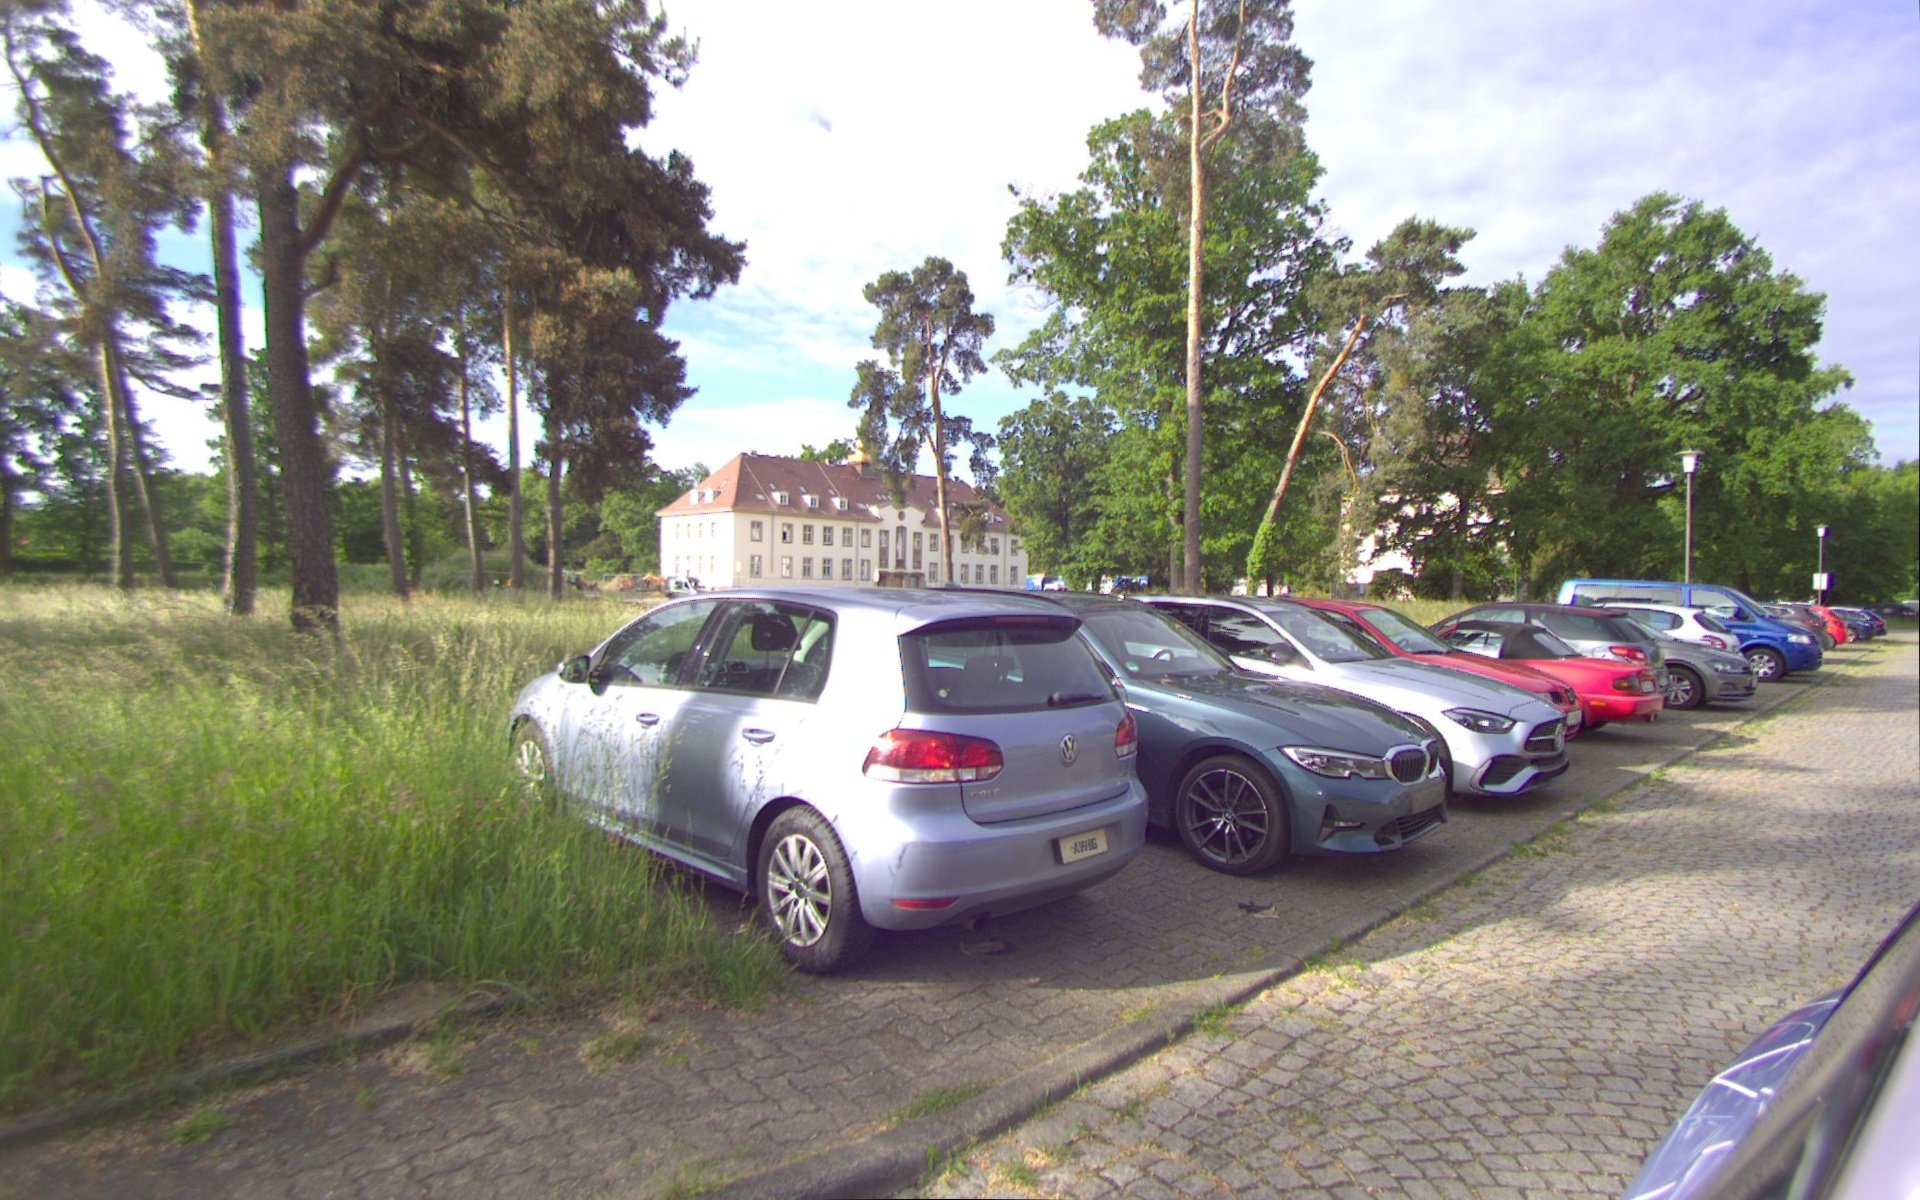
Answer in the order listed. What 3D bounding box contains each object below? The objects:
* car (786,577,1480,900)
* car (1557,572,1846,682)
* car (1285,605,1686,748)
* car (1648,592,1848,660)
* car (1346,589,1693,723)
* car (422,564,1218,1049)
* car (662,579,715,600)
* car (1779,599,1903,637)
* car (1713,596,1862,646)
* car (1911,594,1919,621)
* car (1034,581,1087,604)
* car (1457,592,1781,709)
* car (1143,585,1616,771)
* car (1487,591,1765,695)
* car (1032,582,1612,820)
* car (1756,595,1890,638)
[{"bbox_3d":[0.937,0.625,7.099,4.504,1.492,1.867,2,2,42],"label":"car"},{"bbox_3d":[15.787,0.462,21.740,4.736,1.952,1.960,4,3,45],"label":"car"},{"bbox_3d":[6.171,0.776,12.195,1.698,1.276,3.954,-1,2,-44],"label":"car"},{"bbox_3d":[21.782,0.653,28.086,4.192,1.608,1.848,3,2,45],"label":"car"},{"bbox_3d":[7.755,0.653,14.290,1.743,1.513,3.954,-1,2,-44],"label":"car"},{"bbox_3d":[-1.117,0.594,5.509,4.545,1.524,1.903,3,2,44],"label":"car"},{"bbox_3d":[-28.353,-1.113,105.588,5.637,2.039,2.596,1,1,39],"label":"car"},{"bbox_3d":[39.521,0.763,45.461,1.753,1.468,4.032,0,2,-42],"label":"car"},{"bbox_3d":[28.819,0.671,35.328,3.879,1.491,1.660,3,3,45],"label":"car"},{"bbox_3d":[75.943,0.592,77.073,1.967,2.066,5.068,1,0,-45],"label":"car"},{"bbox_3d":[10.607,-0.827,106.785,5.860,2.328,2.165,0,1,-43],"label":"car"},{"bbox_3d":[10.217,0.679,15.881,1.801,1.485,3.954,-1,2,-44],"label":"car"},{"bbox_3d":[4.260,0.639,10.807,1.712,1.492,4.344,-1,2,-45],"label":"car"},{"bbox_3d":[11.878,0.665,18.206,1.778,1.549,3.878,-1,2,-44],"label":"car"},{"bbox_3d":[2.930,0.630,8.970,1.820,1.492,4.510,-1,2,-45],"label":"car"},{"bbox_3d":[36.072,0.641,42.382,1.718,1.588,4.128,-1,2,-45],"label":"car"}]
